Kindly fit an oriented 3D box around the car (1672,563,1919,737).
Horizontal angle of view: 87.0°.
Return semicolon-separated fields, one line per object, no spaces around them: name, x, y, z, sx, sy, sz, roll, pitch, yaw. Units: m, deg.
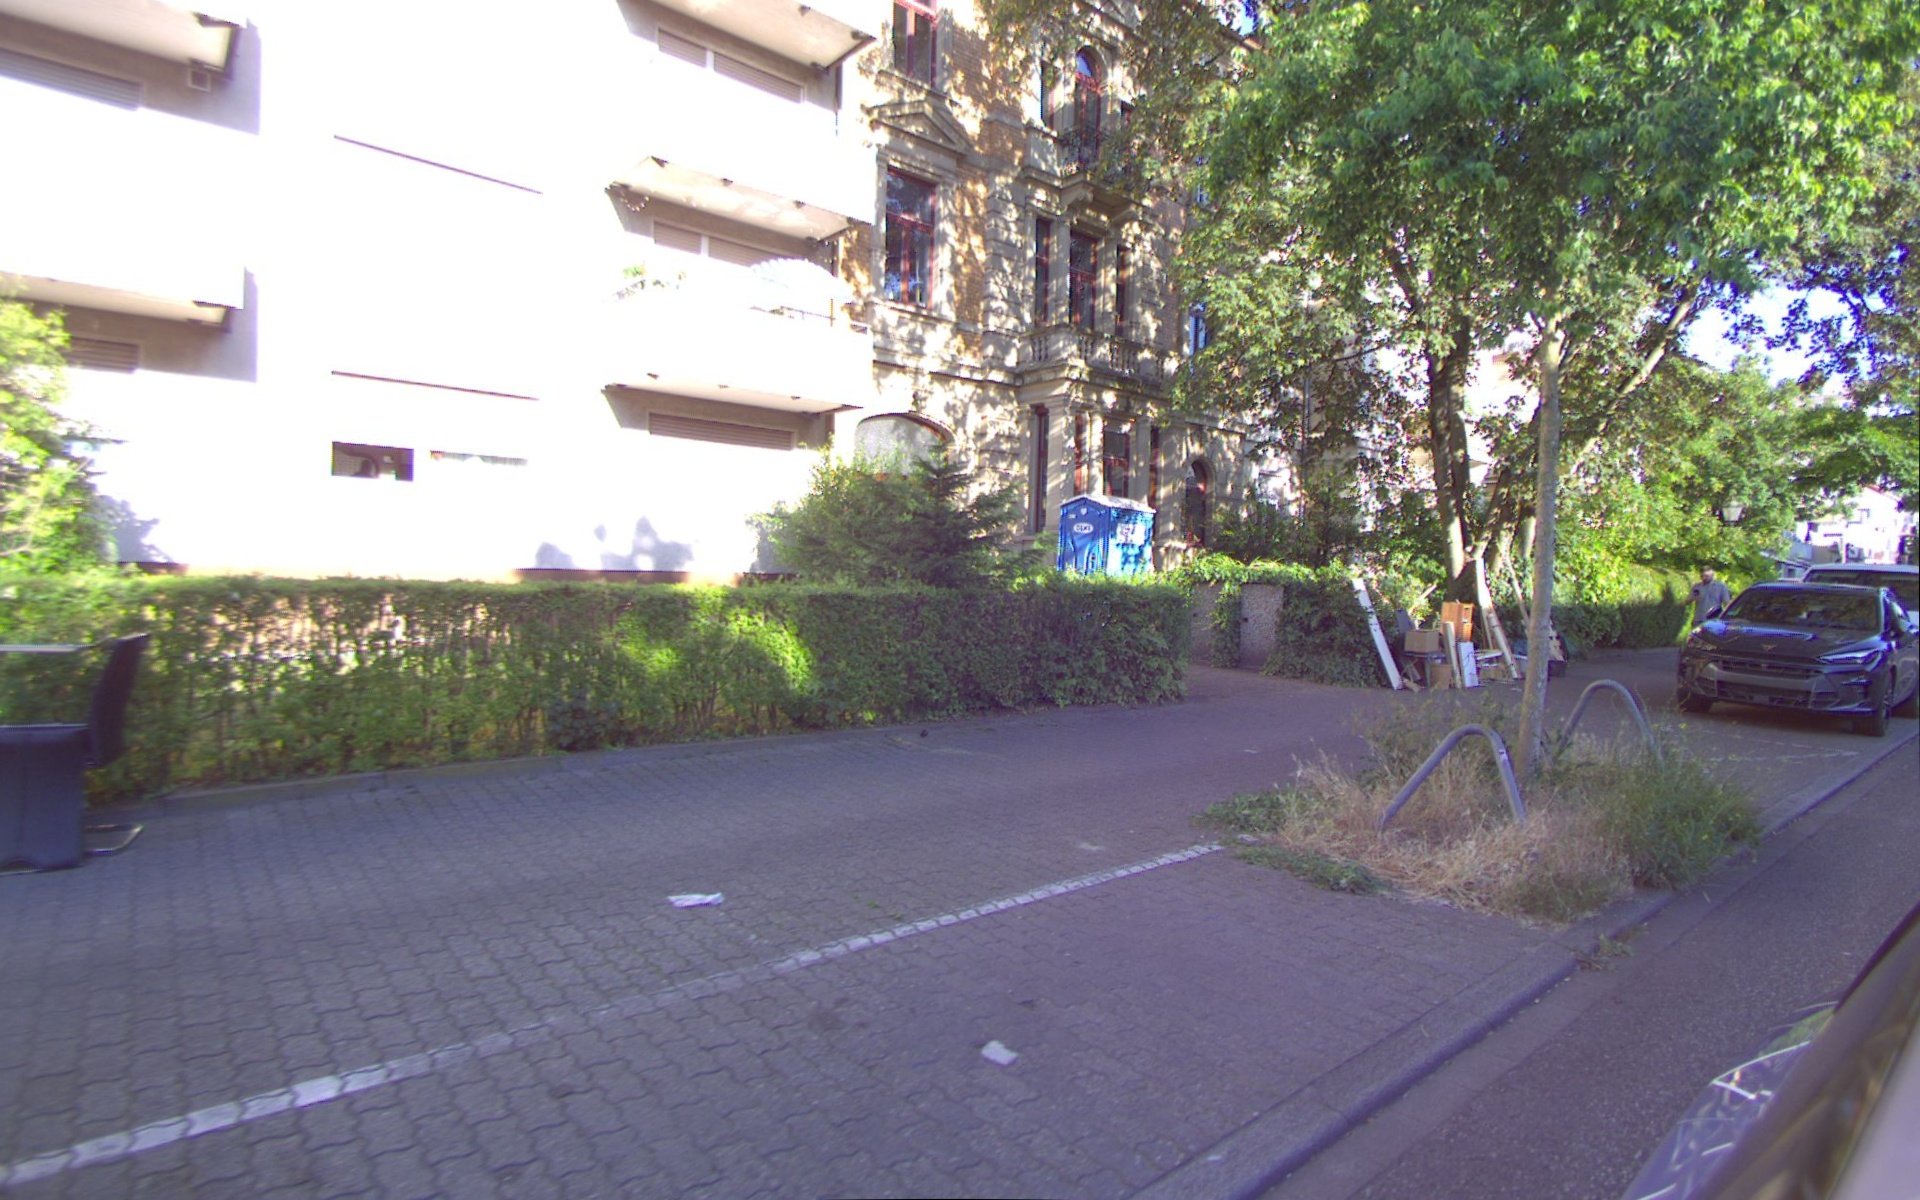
car;10.248;0.457;12.047;4.236;1.623;1.860;0;5;-41

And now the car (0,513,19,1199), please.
car;-3.275;0.617;0.385;4.194;1.498;1.712;0;4;-41

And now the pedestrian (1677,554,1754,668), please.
pedestrian;12.355;0.158;16.543;1.071;1.796;0.821;0;2;-45

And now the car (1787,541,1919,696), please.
car;14.556;0.228;15.766;4.562;2.129;1.906;0;2;-42
